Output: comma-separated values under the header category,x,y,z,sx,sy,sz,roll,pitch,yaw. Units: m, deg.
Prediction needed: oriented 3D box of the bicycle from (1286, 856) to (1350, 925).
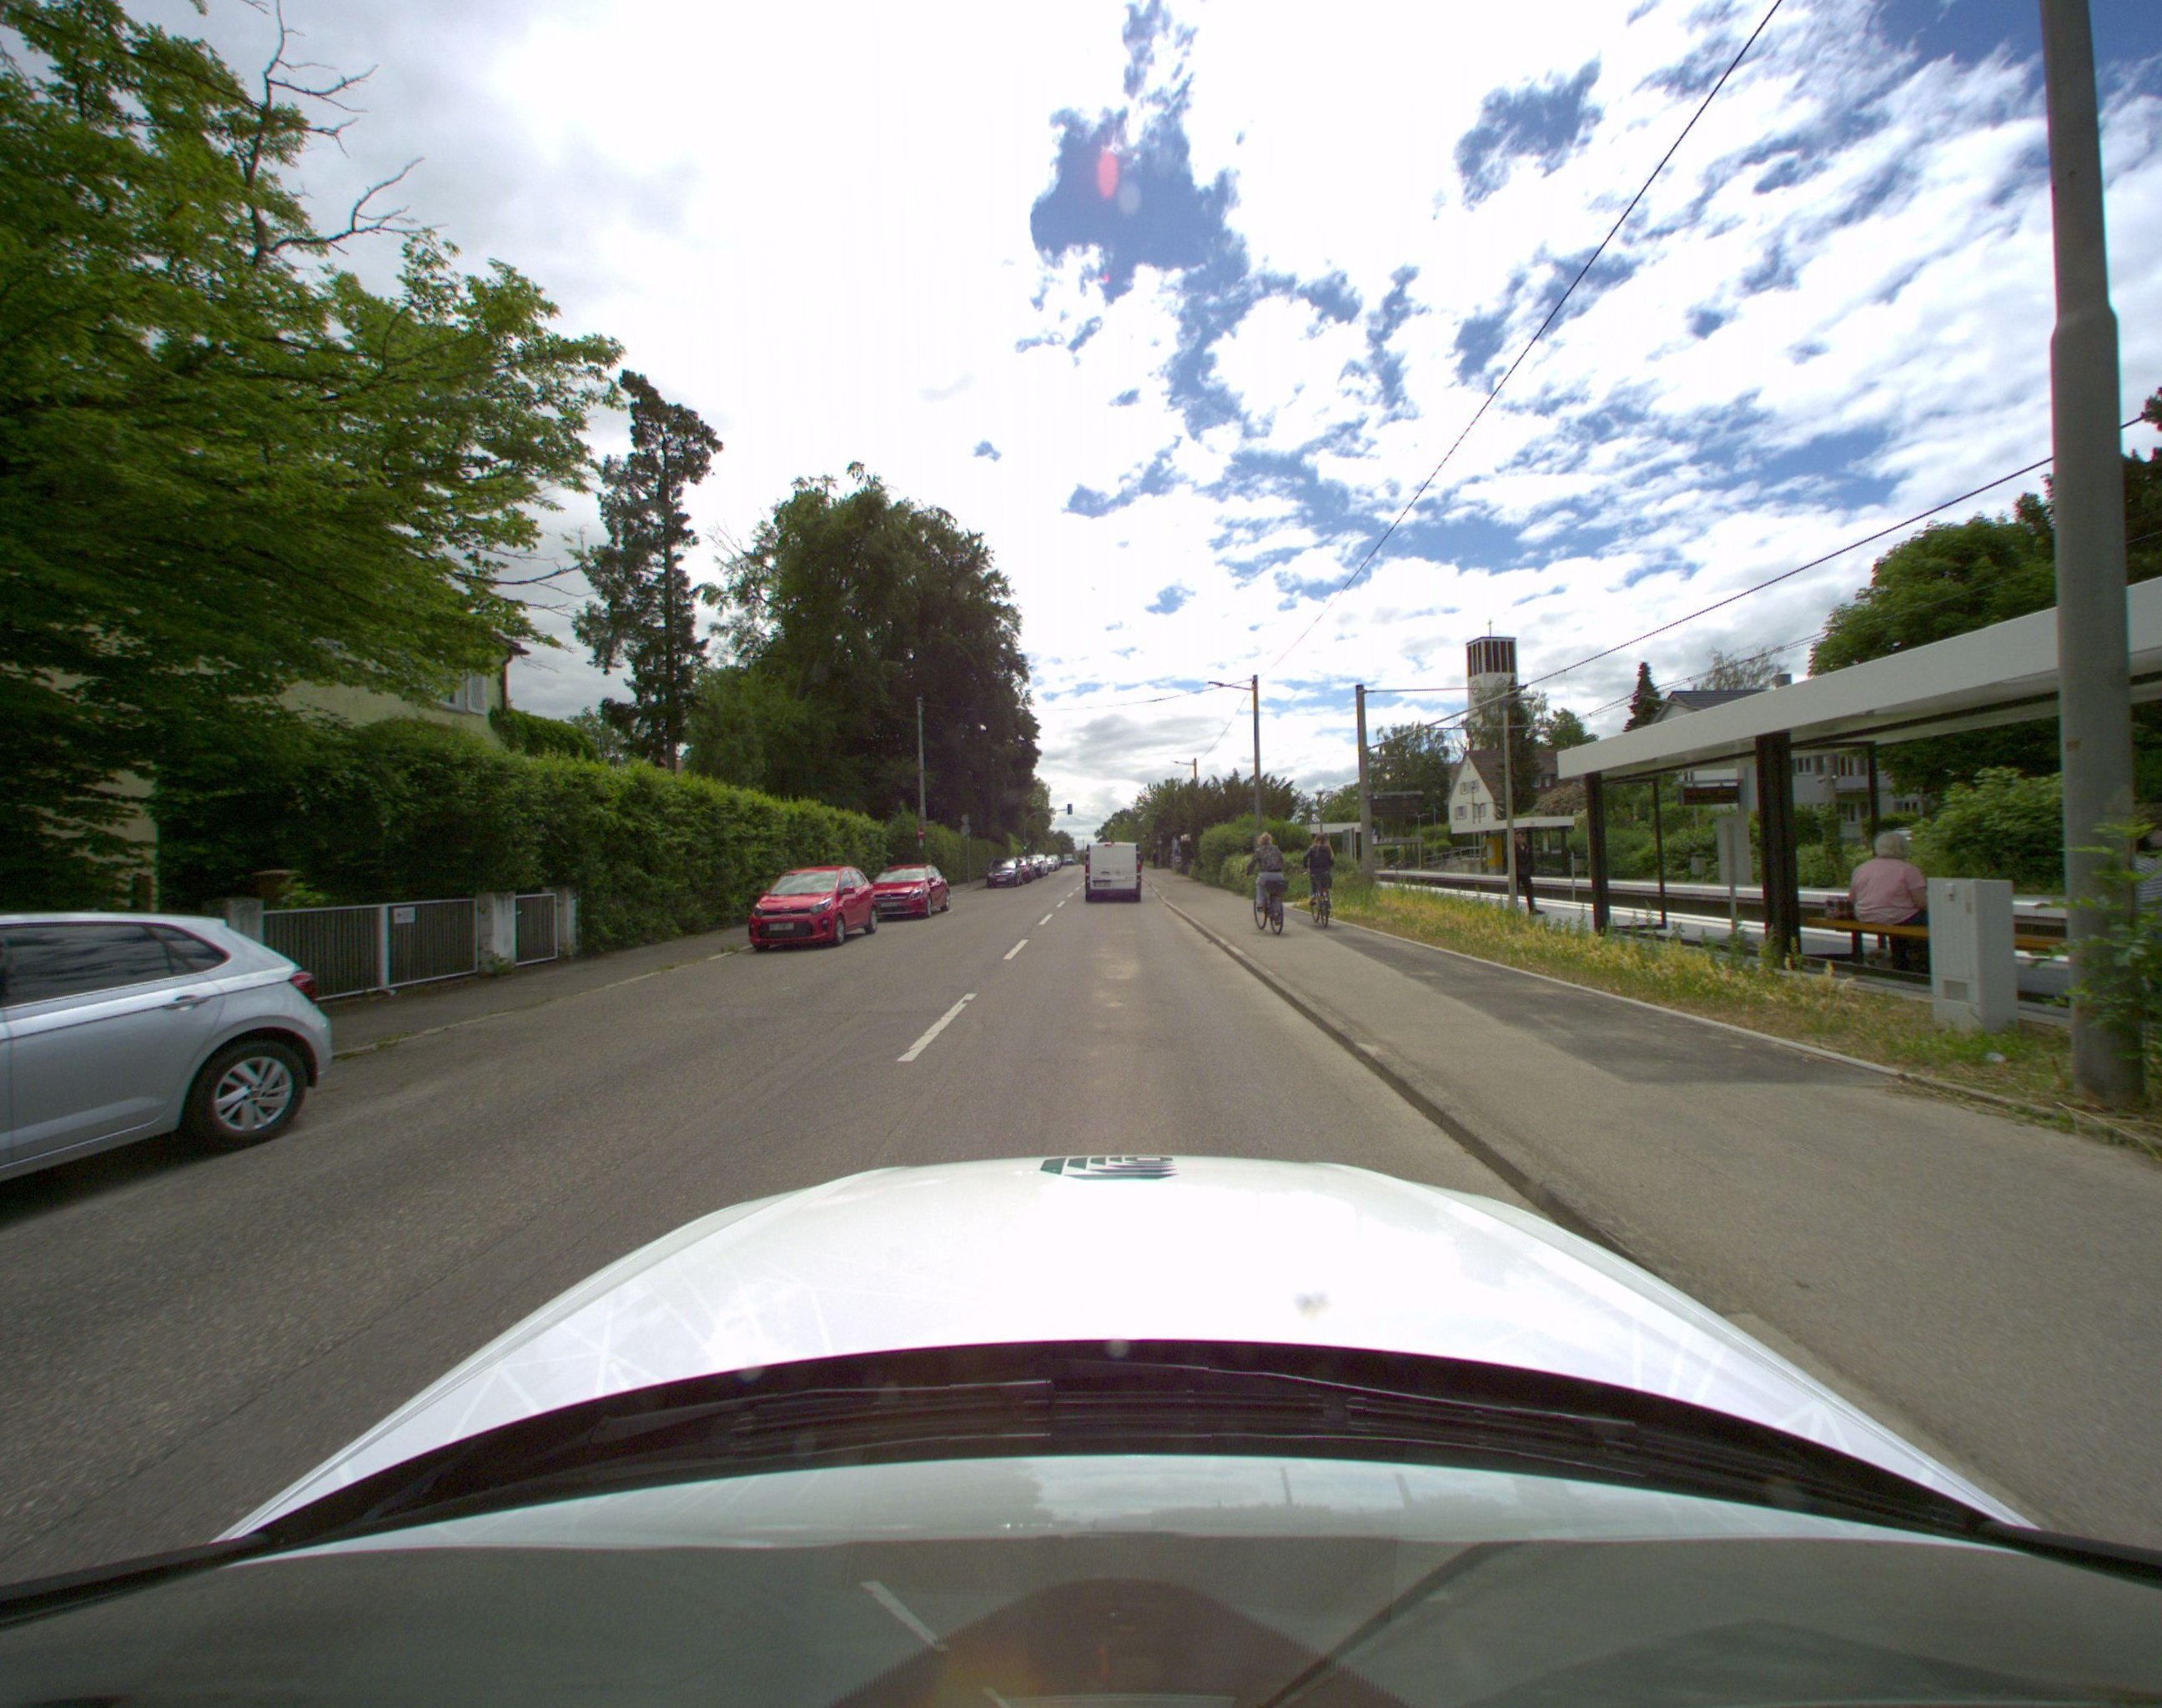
category,x,y,z,sx,sy,sz,roll,pitch,yaw
bicycle,4.673,0.676,16.210,0.616,1.246,2.396,-1,0,2

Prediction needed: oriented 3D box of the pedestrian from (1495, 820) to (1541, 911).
category,x,y,z,sx,sy,sz,roll,pitch,yaw
pedestrian,8.517,0.217,15.896,0.633,1.725,0.657,-1,0,14

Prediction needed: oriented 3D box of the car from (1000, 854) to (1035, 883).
category,x,y,z,sx,sy,sz,roll,pitch,yaw
car,-3.888,0.857,50.343,1.756,1.656,4.061,-2,0,1

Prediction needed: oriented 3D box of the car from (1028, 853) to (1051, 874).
category,x,y,z,sx,sy,sz,roll,pitch,yaw
car,-3.682,0.869,73.214,1.756,1.756,3.815,-2,0,1

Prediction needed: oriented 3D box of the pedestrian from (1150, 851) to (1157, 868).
category,x,y,z,sx,sy,sz,roll,pitch,yaw
pedestrian,7.137,0.520,80.272,0.670,1.696,0.523,-1,0,6

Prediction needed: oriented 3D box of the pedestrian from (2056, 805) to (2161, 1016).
category,x,y,z,sx,sy,sz,roll,pitch,yaw
pedestrian,6.905,0.358,5.401,0.481,1.344,0.399,-1,0,39

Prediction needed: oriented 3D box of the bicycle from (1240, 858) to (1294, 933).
category,x,y,z,sx,sy,sz,roll,pitch,yaw
bicycle,3.356,0.708,14.837,0.544,1.246,2.056,-1,0,2

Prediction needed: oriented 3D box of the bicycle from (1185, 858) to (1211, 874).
category,x,y,z,sx,sy,sz,roll,pitch,yaw
bicycle,7.839,0.813,54.659,1.693,1.030,0.491,-1,-1,0

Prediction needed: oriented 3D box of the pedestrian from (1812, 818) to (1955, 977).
category,x,y,z,sx,sy,sz,roll,pitch,yaw
pedestrian,7.320,0.378,7.465,0.580,1.380,0.740,-1,0,3

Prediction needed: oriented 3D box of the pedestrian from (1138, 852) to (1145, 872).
category,x,y,z,sx,sy,sz,roll,pitch,yaw
pedestrian,5.760,0.755,77.593,0.676,1.841,0.647,-1,-1,8

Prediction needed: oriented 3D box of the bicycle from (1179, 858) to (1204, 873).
category,x,y,z,sx,sy,sz,roll,pitch,yaw
bicycle,7.722,0.820,56.971,1.693,1.030,0.491,-1,-1,0

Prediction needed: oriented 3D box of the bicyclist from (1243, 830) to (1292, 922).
category,x,y,z,sx,sy,sz,roll,pitch,yaw
bicyclist,3.344,0.385,14.659,0.715,1.612,0.758,-1,0,1

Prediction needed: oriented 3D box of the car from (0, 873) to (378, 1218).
category,x,y,z,sx,sy,sz,roll,pitch,yaw
car,-5.735,0.919,3.531,1.729,1.505,3.966,-3,0,3

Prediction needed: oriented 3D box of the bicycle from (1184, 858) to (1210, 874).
category,x,y,z,sx,sy,sz,roll,pitch,yaw
bicycle,7.868,0.826,55.234,1.693,1.030,0.491,-1,-1,0

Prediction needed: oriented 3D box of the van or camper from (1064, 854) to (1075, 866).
category,x,y,z,sx,sy,sz,roll,pitch,yaw
van or camper,-2.263,1.168,162.688,1.999,2.261,4.608,-2,0,-2

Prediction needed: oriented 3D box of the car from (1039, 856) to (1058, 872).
category,x,y,z,sx,sy,sz,roll,pitch,yaw
car,-3.420,1.070,86.783,1.756,1.557,3.815,-2,0,1

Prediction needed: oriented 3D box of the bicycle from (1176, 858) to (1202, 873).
category,x,y,z,sx,sy,sz,roll,pitch,yaw
bicycle,7.482,0.802,56.434,1.693,1.030,0.491,-1,-1,0

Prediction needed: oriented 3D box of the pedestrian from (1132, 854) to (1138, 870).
category,x,y,z,sx,sy,sz,roll,pitch,yaw
pedestrian,6.475,0.984,97.139,0.700,1.851,0.666,-1,-1,2

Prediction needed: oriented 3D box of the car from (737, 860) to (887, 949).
category,x,y,z,sx,sy,sz,roll,pitch,yaw
car,-5.197,0.905,16.192,1.582,1.505,3.518,-3,0,3

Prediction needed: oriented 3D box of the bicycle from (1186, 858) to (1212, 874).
category,x,y,z,sx,sy,sz,roll,pitch,yaw
bicycle,7.829,0.801,54.103,1.693,1.030,0.491,-1,-1,0

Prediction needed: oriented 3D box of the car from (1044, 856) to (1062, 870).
category,x,y,z,sx,sy,sz,roll,pitch,yaw
car,-3.269,1.041,95.851,1.773,1.669,4.002,-1,0,2

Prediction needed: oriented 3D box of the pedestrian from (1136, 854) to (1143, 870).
category,x,y,z,sx,sy,sz,roll,pitch,yaw
pedestrian,6.423,0.905,89.893,0.649,1.807,0.564,-1,-1,-10

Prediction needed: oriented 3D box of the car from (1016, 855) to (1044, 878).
category,x,y,z,sx,sy,sz,roll,pitch,yaw
car,-3.776,0.905,61.023,1.756,1.656,3.815,-2,0,1

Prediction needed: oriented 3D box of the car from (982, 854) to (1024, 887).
category,x,y,z,sx,sy,sz,roll,pitch,yaw
car,-4.189,0.857,44.307,1.756,1.626,4.186,-2,0,1

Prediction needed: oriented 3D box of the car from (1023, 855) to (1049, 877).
category,x,y,z,sx,sy,sz,roll,pitch,yaw
car,-3.608,0.939,66.238,1.756,1.656,3.815,-2,0,1

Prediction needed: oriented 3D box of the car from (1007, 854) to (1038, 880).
category,x,y,z,sx,sy,sz,roll,pitch,yaw
car,-3.939,0.866,55.524,1.756,1.656,3.815,-2,0,1

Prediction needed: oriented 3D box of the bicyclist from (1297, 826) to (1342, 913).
category,x,y,z,sx,sy,sz,roll,pitch,yaw
bicyclist,4.669,0.297,15.974,0.637,1.650,0.819,-1,0,1

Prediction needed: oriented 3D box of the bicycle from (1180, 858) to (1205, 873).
category,x,y,z,sx,sy,sz,roll,pitch,yaw
bicycle,7.845,0.820,57.557,1.693,1.030,0.491,-1,-1,0

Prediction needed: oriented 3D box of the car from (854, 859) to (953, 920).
category,x,y,z,sx,sy,sz,roll,pitch,yaw
car,-4.883,0.923,23.012,1.756,1.471,4.186,-2,0,1

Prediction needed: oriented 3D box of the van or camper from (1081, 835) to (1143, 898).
category,x,y,z,sx,sy,sz,roll,pitch,yaw
van or camper,1.085,0.440,28.395,1.986,2.014,4.448,0,-1,2
